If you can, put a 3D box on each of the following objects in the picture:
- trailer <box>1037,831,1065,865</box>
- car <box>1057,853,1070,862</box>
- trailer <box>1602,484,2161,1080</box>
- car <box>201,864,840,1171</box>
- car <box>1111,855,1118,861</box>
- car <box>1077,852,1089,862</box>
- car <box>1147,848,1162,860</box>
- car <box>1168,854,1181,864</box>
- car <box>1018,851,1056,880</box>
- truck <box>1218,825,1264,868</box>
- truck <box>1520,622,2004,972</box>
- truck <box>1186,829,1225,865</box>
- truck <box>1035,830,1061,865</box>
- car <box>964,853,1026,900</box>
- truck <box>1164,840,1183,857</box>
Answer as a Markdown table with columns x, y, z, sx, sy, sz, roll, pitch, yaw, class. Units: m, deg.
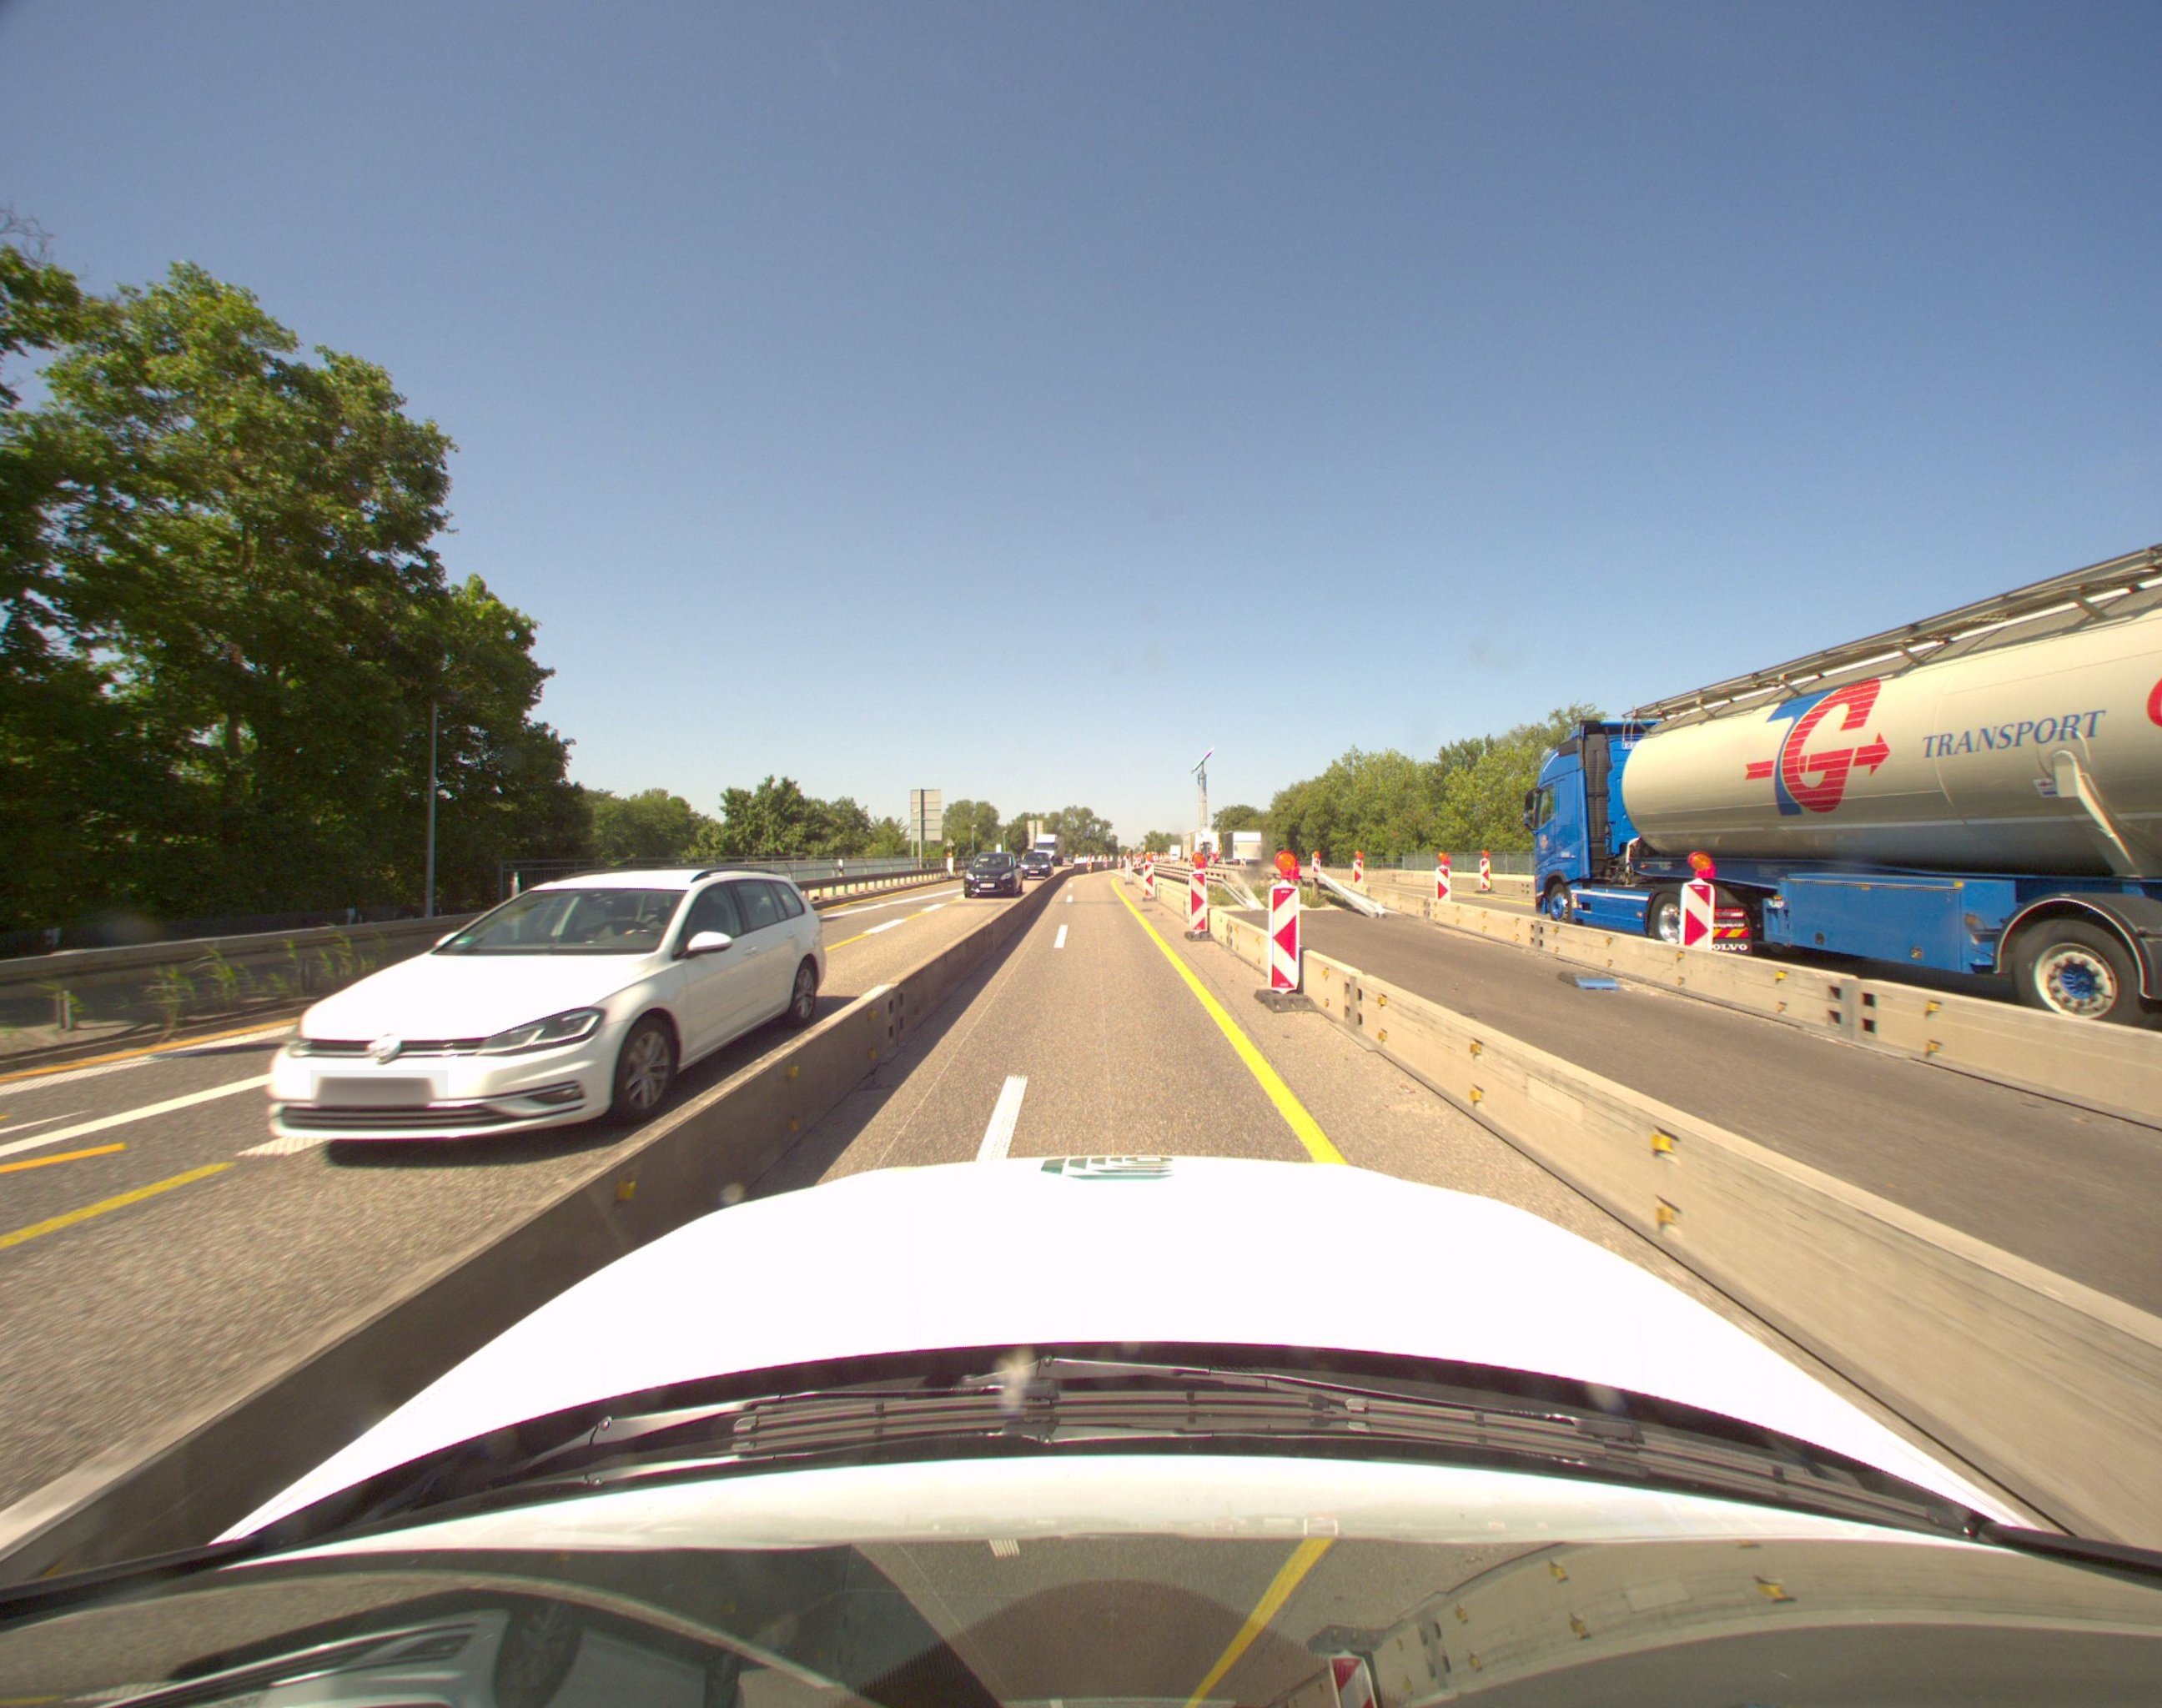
| x | y | z | sx | sy | sz | roll | pitch | yaw | class |
| --- | --- | --- | --- | --- | --- | --- | --- | --- | --- |
| -3.906 | -0.756 | 109.553 | 2.751 | 4.136 | 14.534 | -1 | 0 | 1 | trailer |
| -3.014 | 0.550 | 139.728 | 1.924 | 1.508 | 4.472 | -1 | 0 | 3 | car |
| 9.097 | -0.521 | 7.125 | 2.678 | 4.137 | 12.645 | -1 | 0 | 9 | trailer |
| -3.368 | 0.828 | 6.073 | 1.808 | 1.417 | 4.154 | -1 | 0 | 1 | car |
| 9.245 | 1.168 | 222.504 | 1.730 | 1.476 | 4.649 | -1 | 0 | 3 | car |
| 0.343 | 0.457 | 122.392 | 1.784 | 1.568 | 3.873 | -1 | 0 | 1 | car |
| 10.885 | 0.023 | 120.675 | 1.810 | 1.776 | 4.000 | -1 | 0 | 1 | car |
| 17.049 | 0.985 | 148.772 | 1.986 | 1.776 | 4.000 | -1 | 0 | 1 | car |
| -2.571 | 0.638 | 48.326 | 1.856 | 1.632 | 4.567 | -1 | 0 | 2 | car |
| 13.444 | -0.638 | 69.084 | 2.625 | 3.427 | 7.234 | 0 | 0 | 1 | truck |
| 10.048 | -0.645 | 13.376 | 2.678 | 4.102 | 7.319 | -1 | 0 | 9 | truck |
| 13.797 | -0.762 | 90.802 | 3.377 | 3.774 | 7.234 | -1 | 0 | 1 | truck |
| -4.052 | -0.807 | 102.417 | 2.739 | 4.136 | 6.417 | -1 | 0 | 1 | truck |
| -3.057 | 0.768 | 29.538 | 1.732 | 1.552 | 3.943 | -1 | 0 | 1 | car |
| 24.001 | -1.446 | 211.605 | 4.203 | 4.266 | 10.248 | -1 | 0 | 3 | truck |
